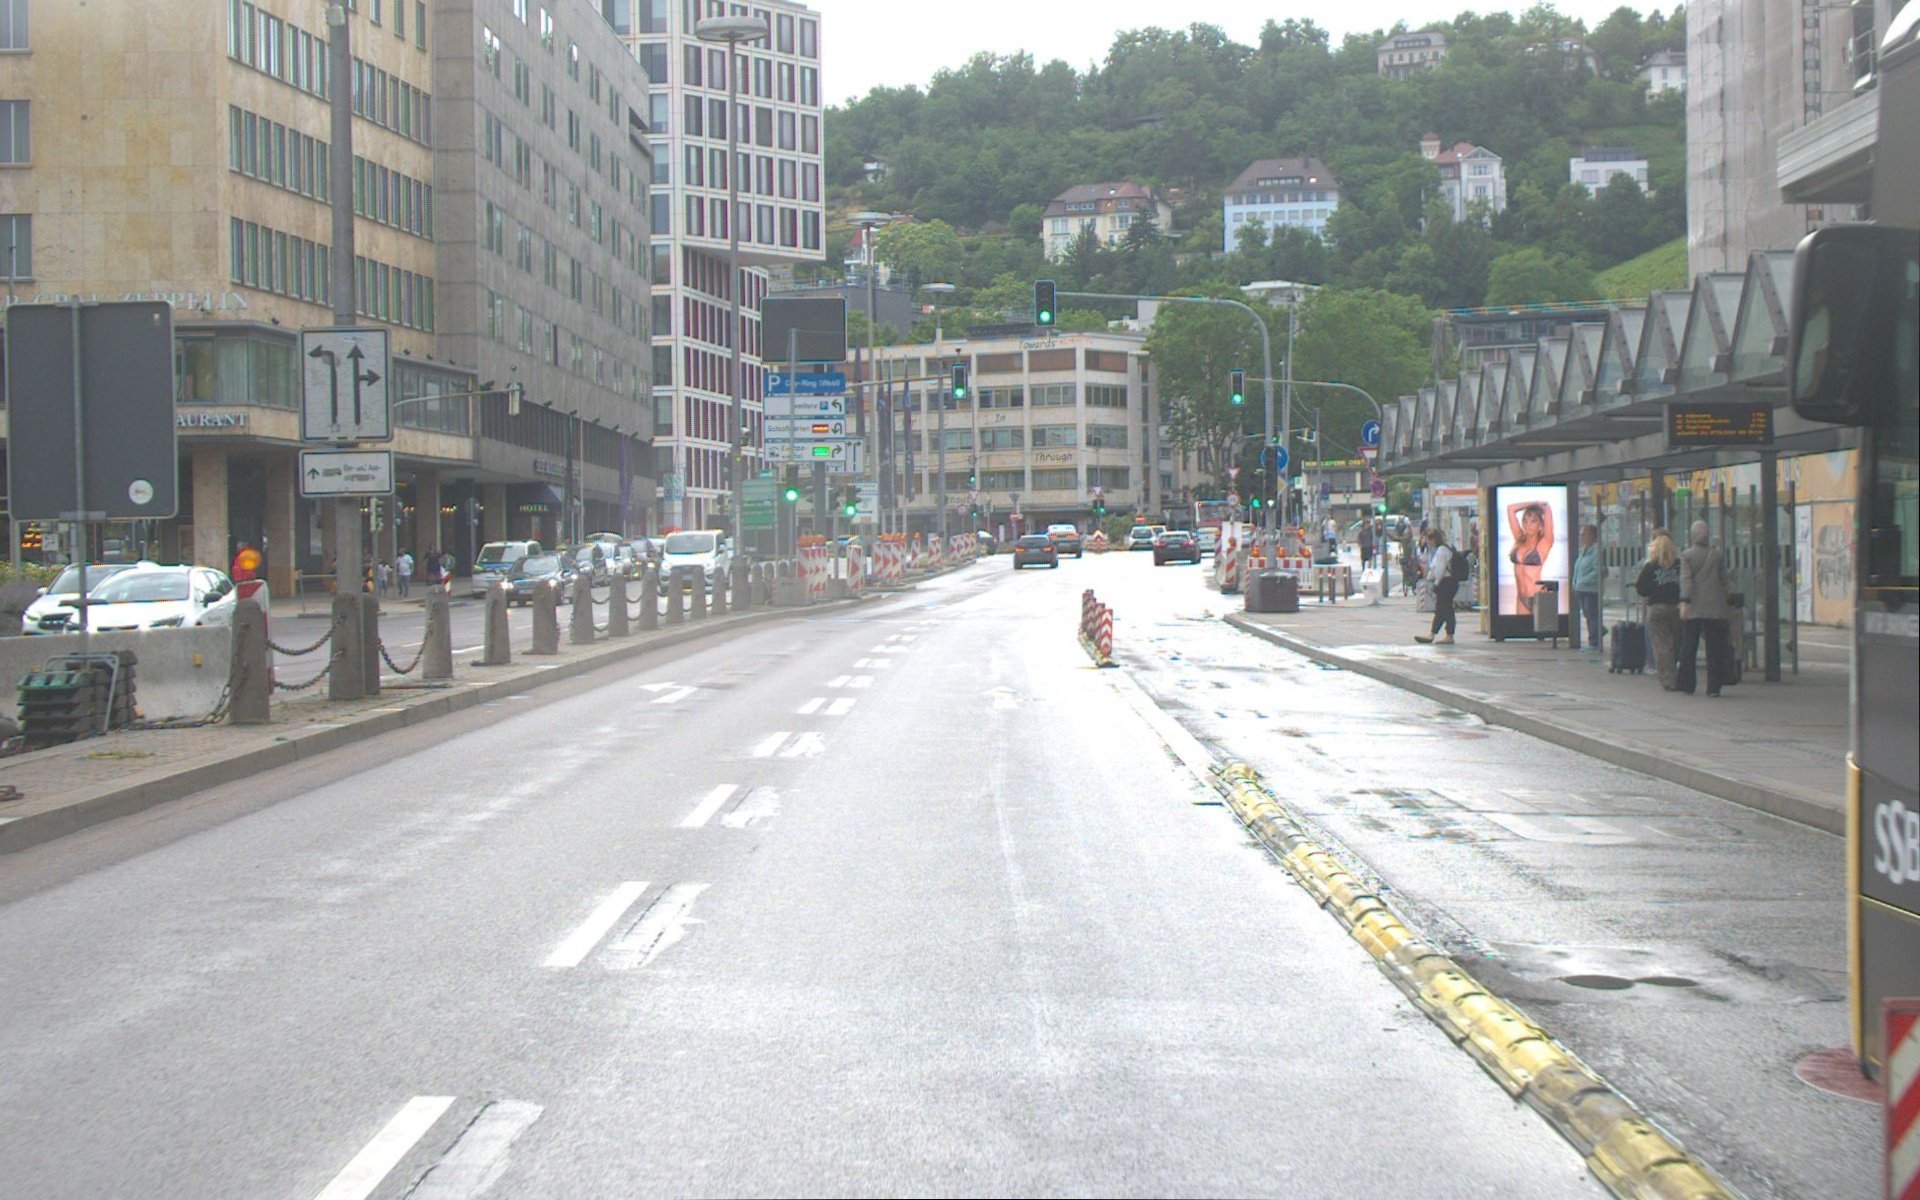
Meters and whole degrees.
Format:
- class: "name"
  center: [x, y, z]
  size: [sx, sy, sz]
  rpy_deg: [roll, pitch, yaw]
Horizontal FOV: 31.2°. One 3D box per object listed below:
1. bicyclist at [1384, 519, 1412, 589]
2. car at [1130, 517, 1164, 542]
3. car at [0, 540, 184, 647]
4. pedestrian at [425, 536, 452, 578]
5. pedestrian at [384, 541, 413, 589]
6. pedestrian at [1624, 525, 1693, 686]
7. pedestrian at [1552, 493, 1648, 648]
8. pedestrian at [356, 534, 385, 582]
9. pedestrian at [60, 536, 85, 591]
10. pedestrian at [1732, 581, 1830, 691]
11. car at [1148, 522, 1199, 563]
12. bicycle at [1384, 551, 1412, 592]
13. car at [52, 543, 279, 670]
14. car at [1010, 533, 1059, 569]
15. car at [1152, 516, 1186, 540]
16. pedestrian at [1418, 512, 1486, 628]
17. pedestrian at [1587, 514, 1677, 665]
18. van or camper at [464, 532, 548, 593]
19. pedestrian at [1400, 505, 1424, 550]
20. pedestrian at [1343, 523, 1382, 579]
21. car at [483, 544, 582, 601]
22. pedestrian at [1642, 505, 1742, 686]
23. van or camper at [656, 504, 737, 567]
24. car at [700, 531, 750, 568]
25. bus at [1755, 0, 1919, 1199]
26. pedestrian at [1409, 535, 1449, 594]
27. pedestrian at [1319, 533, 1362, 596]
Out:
- class: "bicyclist"
  center: [11.675, -1.220, 91.685]
  size: [0.703, 1.838, 0.967]
  rpy_deg: [1, 1, 7]
- class: "car"
  center: [11.007, -4.166, 202.707]
  size: [1.819, 1.437, 4.000]
  rpy_deg: [1, 1, 1]
- class: "car"
  center: [-14.112, -0.141, 55.634]
  size: [1.962, 1.559, 4.836]
  rpy_deg: [-2, 1, 0]
- class: "pedestrian"
  center: [-18.802, -1.555, 123.952]
  size: [0.795, 1.521, 0.916]
  rpy_deg: [0, 0, 4]
- class: "pedestrian"
  center: [-18.376, -1.139, 112.515]
  size: [0.721, 1.552, 0.895]
  rpy_deg: [0, 0, 4]
- class: "pedestrian"
  center: [6.862, 0.049, 33.791]
  size: [0.521, 1.560, 0.729]
  rpy_deg: [0, 1, 0]
- class: "pedestrian"
  center: [8.555, -0.403, 45.963]
  size: [0.802, 2.043, 0.926]
  rpy_deg: [1, 1, -39]
- class: "pedestrian"
  center: [-19.305, -1.382, 112.585]
  size: [0.721, 1.552, 0.905]
  rpy_deg: [0, 0, 4]
- class: "pedestrian"
  center: [-26.807, -1.113, 103.847]
  size: [0.695, 1.638, 0.650]
  rpy_deg: [-1, 1, -16]
- class: "pedestrian"
  center: [9.584, 0.413, 40.149]
  size: [0.913, 1.226, 0.841]
  rpy_deg: [1, 1, 1]
- class: "car"
  center: [9.024, -2.420, 145.467]
  size: [1.993, 1.700, 4.000]
  rpy_deg: [0, 1, 1]
- class: "bicycle"
  center: [11.677, -0.775, 91.738]
  size: [0.707, 1.046, 1.806]
  rpy_deg: [1, 2, 7]
- class: "car"
  center: [-10.856, 0.047, 47.329]
  size: [1.962, 1.559, 4.836]
  rpy_deg: [-2, 1, 0]
- class: "car"
  center: [3.176, -2.095, 147.423]
  size: [1.993, 1.547, 4.000]
  rpy_deg: [0, 1, 0]
- class: "car"
  center: [13.431, -4.627, 220.934]
  size: [1.993, 1.437, 4.000]
  rpy_deg: [1, 1, 1]
- class: "pedestrian"
  center: [7.208, -0.445, 50.394]
  size: [0.701, 1.674, 0.723]
  rpy_deg: [-1, 1, -26]
- class: "pedestrian"
  center: [7.476, -0.125, 38.288]
  size: [0.808, 1.654, 0.804]
  rpy_deg: [1, 1, 0]
- class: "van or camper"
  center: [-15.269, -1.254, 115.907]
  size: [1.993, 2.007, 4.965]
  rpy_deg: [0, 1, 2]
- class: "pedestrian"
  center: [18.722, -3.006, 142.507]
  size: [0.946, 1.835, 0.867]
  rpy_deg: [0, 0, 9]
- class: "pedestrian"
  center: [13.457, -1.631, 114.879]
  size: [0.948, 1.835, 0.945]
  rpy_deg: [0, 1, 33]
- class: "car"
  center: [-12.353, -0.799, 99.631]
  size: [1.994, 1.611, 4.977]
  rpy_deg: [0, 1, 3]
- class: "pedestrian"
  center: [6.911, -0.052, 32.491]
  size: [0.762, 1.687, 0.822]
  rpy_deg: [0, 1, 0]
- class: "van or camper"
  center: [-8.624, -2.090, 113.018]
  size: [1.994, 2.007, 5.189]
  rpy_deg: [0, 1, 3]
- class: "car"
  center: [-10.565, -2.256, 154.539]
  size: [1.768, 1.603, 4.226]
  rpy_deg: [0, 1, 3]
- class: "bus"
  center: [3.439, 0.091, 4.221]
  size: [2.755, 3.055, 8.993]
  rpy_deg: [1, 0, 0]
- class: "pedestrian"
  center: [12.920, -0.980, 94.685]
  size: [0.796, 1.602, 0.834]
  rpy_deg: [0, 1, 31]
- class: "pedestrian"
  center: [9.762, -0.917, 88.226]
  size: [0.796, 1.602, 0.834]
  rpy_deg: [0, 1, 32]
